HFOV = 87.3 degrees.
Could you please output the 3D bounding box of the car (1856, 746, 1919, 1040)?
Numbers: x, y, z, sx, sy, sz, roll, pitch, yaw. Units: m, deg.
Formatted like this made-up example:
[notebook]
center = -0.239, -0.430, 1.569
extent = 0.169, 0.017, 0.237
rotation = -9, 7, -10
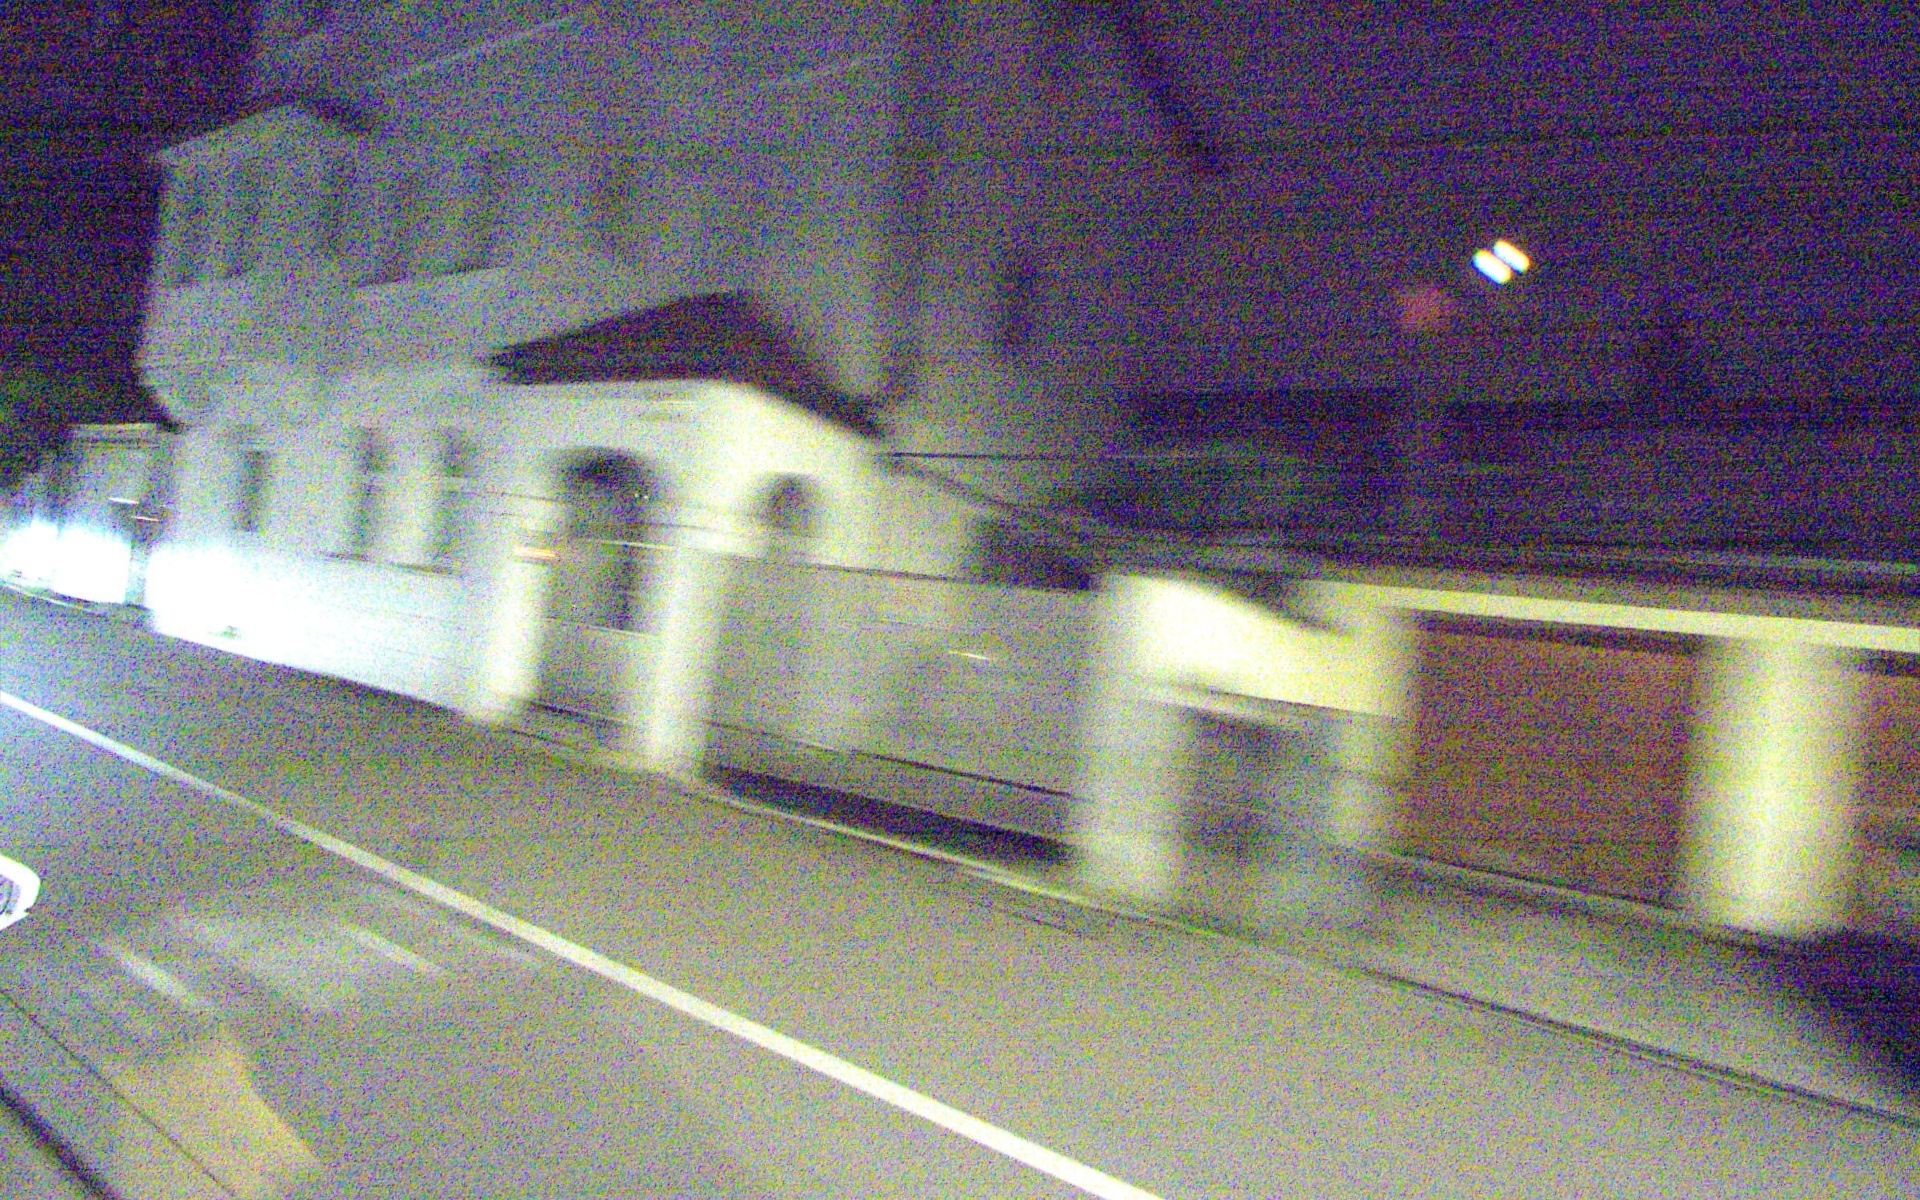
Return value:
[car]
center = 5.667, 1.588, 4.606
extent = 1.703, 1.490, 3.716
rotation = 6, -2, 34
